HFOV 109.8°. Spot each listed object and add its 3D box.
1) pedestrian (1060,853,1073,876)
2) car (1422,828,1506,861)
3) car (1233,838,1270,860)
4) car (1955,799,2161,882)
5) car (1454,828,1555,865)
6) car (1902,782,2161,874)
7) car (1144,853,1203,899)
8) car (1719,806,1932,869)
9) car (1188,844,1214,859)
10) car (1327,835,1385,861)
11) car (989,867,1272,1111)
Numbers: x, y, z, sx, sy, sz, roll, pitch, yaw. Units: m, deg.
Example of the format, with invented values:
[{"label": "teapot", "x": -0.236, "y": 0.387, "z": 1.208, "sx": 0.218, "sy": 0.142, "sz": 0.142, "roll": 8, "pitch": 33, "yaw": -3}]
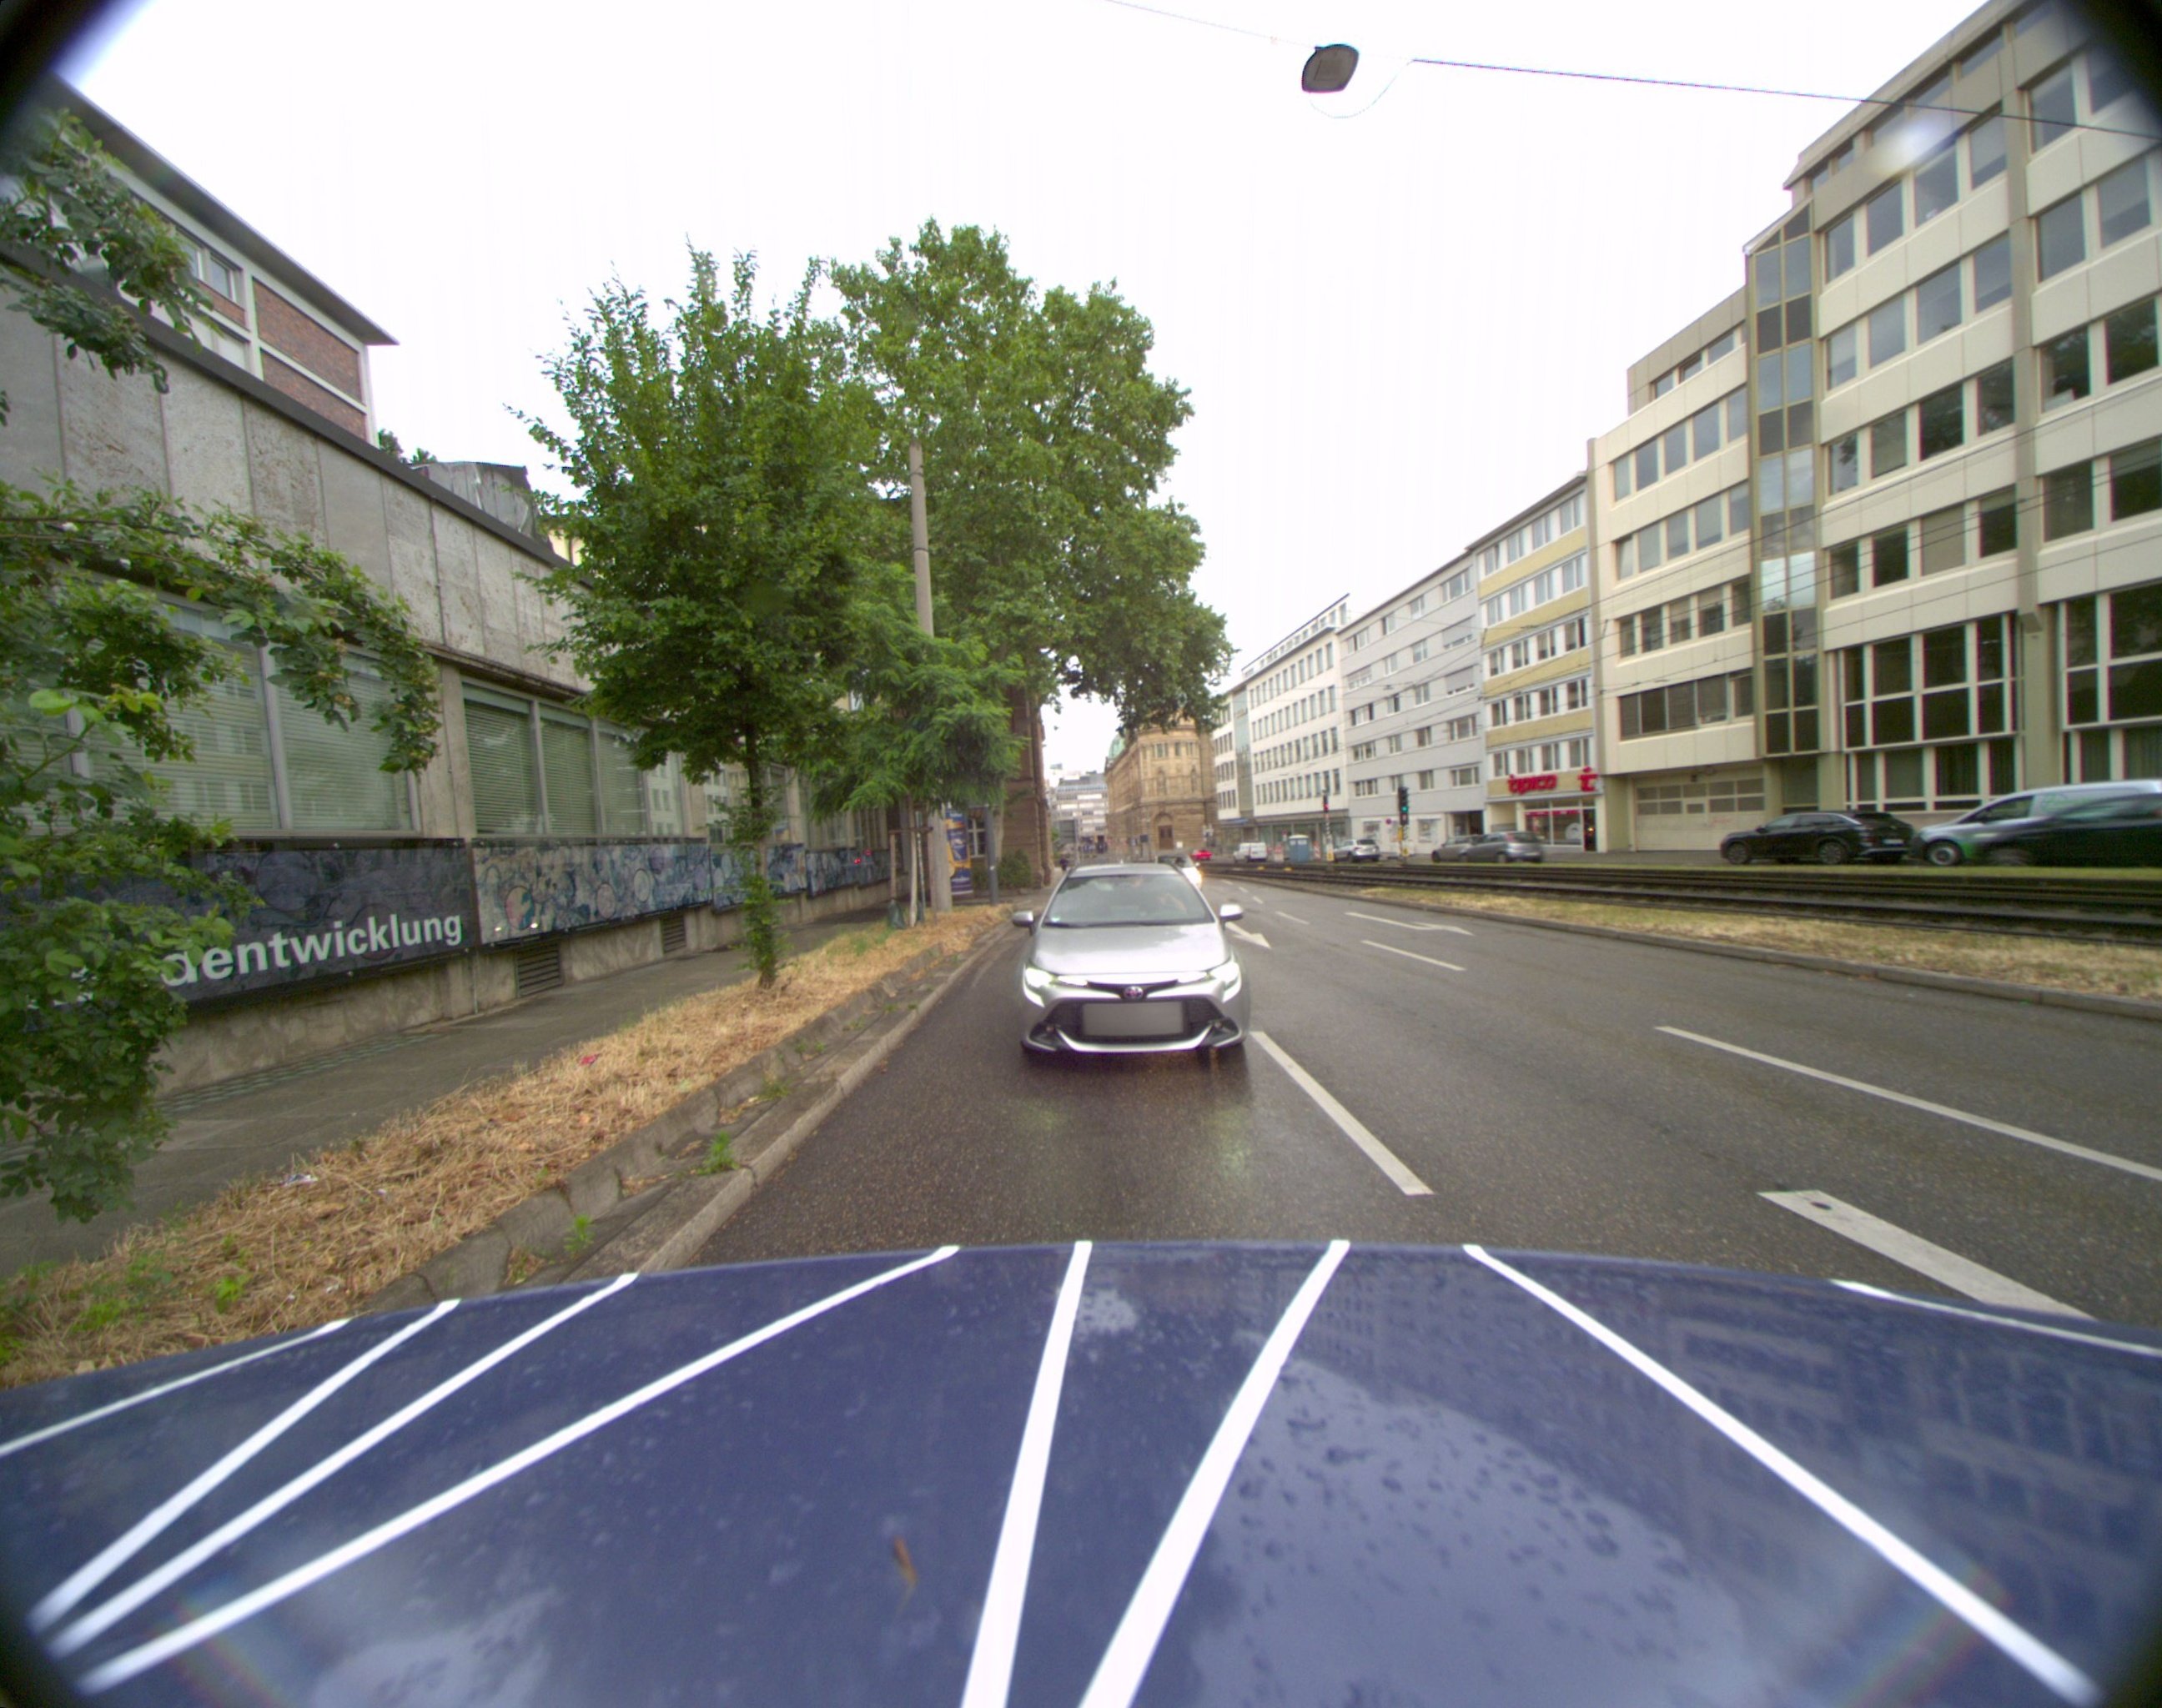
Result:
[{"label": "pedestrian", "x": -1.089, "y": 0.776, "z": 56.334, "sx": 0.719, "sy": 1.630, "sz": 0.760, "roll": -5, "pitch": 2, "yaw": 10}, {"label": "car", "x": 19.486, "y": -0.479, "z": 38.905, "sx": 1.801, "sy": 1.505, "sz": 4.075, "roll": -5, "pitch": 1, "yaw": -7}, {"label": "car", "x": 16.319, "y": -0.477, "z": 72.953, "sx": 1.890, "sy": 1.924, "sz": 4.474, "roll": -5, "pitch": 1, "yaw": -7}, {"label": "car", "x": 18.918, "y": -0.265, "z": 13.669, "sx": 1.632, "sy": 1.349, "sz": 3.868, "roll": -5, "pitch": 1, "yaw": -9}, {"label": "car", "x": 17.379, "y": -0.292, "z": 31.415, "sx": 1.632, "sy": 1.349, "sz": 3.869, "roll": -4, "pitch": 1, "yaw": -6}, {"label": "car", "x": 21.500, "y": -0.569, "z": 16.808, "sx": 1.801, "sy": 1.736, "sz": 4.213, "roll": -5, "pitch": 1, "yaw": -8}, {"label": "car", "x": 3.243, "y": 0.734, "z": 27.227, "sx": 1.654, "sy": 1.426, "sz": 3.439, "roll": -2, "pitch": 1, "yaw": 0}, {"label": "car", "x": 21.062, "y": -0.452, "z": 21.770, "sx": 1.801, "sy": 1.505, "sz": 4.075, "roll": -5, "pitch": 1, "yaw": -7}, {"label": "car", "x": 14.540, "y": -0.338, "z": 92.108, "sx": 1.890, "sy": 1.615, "sz": 4.474, "roll": -5, "pitch": 1, "yaw": -7}, {"label": "car", "x": 18.162, "y": -0.400, "z": 50.450, "sx": 1.890, "sy": 1.505, "sz": 4.075, "roll": -5, "pitch": 1, "yaw": -7}, {"label": "car", "x": 0.345, "y": 0.929, "z": 7.160, "sx": 1.811, "sy": 1.426, "sz": 4.297, "roll": -2, "pitch": 1, "yaw": 0}]
